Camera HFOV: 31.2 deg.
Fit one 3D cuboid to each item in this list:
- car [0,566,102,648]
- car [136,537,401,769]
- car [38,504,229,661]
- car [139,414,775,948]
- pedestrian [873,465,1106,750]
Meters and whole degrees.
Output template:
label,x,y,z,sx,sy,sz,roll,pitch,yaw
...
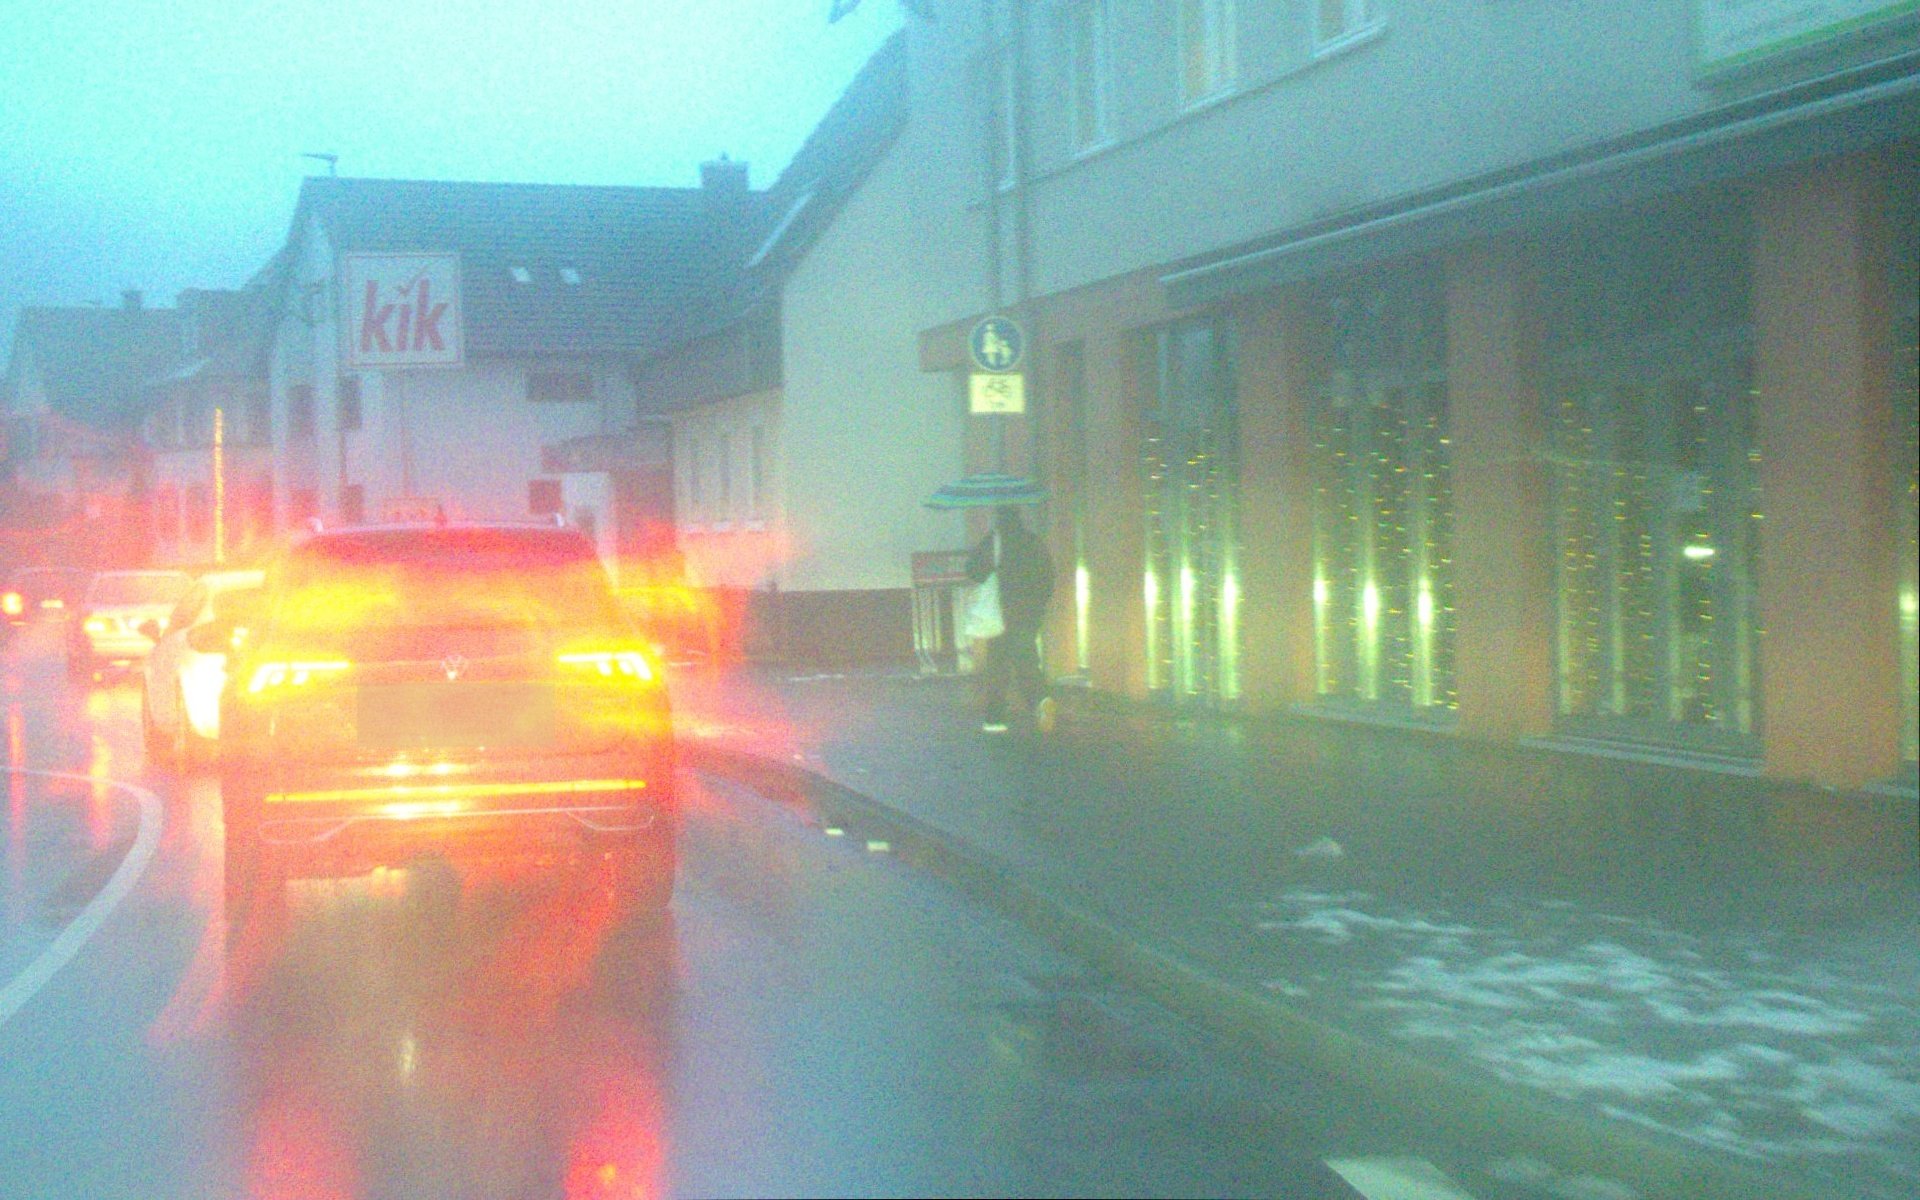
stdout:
label,x,y,z,sx,sy,sz,roll,pitch,yaw
car,-16.315,0.101,61.066,1.842,1.327,3.939,-2,2,-17
car,-5.401,0.340,26.771,1.857,1.641,4.001,-1,1,-12
car,-11.162,-0.246,46.211,2.309,1.932,5.019,-2,1,-15
car,-2.163,0.268,15.437,2.309,1.932,5.019,-2,1,-6
pedestrian,0.187,0.038,23.875,1.254,1.859,1.304,-3,1,-13
